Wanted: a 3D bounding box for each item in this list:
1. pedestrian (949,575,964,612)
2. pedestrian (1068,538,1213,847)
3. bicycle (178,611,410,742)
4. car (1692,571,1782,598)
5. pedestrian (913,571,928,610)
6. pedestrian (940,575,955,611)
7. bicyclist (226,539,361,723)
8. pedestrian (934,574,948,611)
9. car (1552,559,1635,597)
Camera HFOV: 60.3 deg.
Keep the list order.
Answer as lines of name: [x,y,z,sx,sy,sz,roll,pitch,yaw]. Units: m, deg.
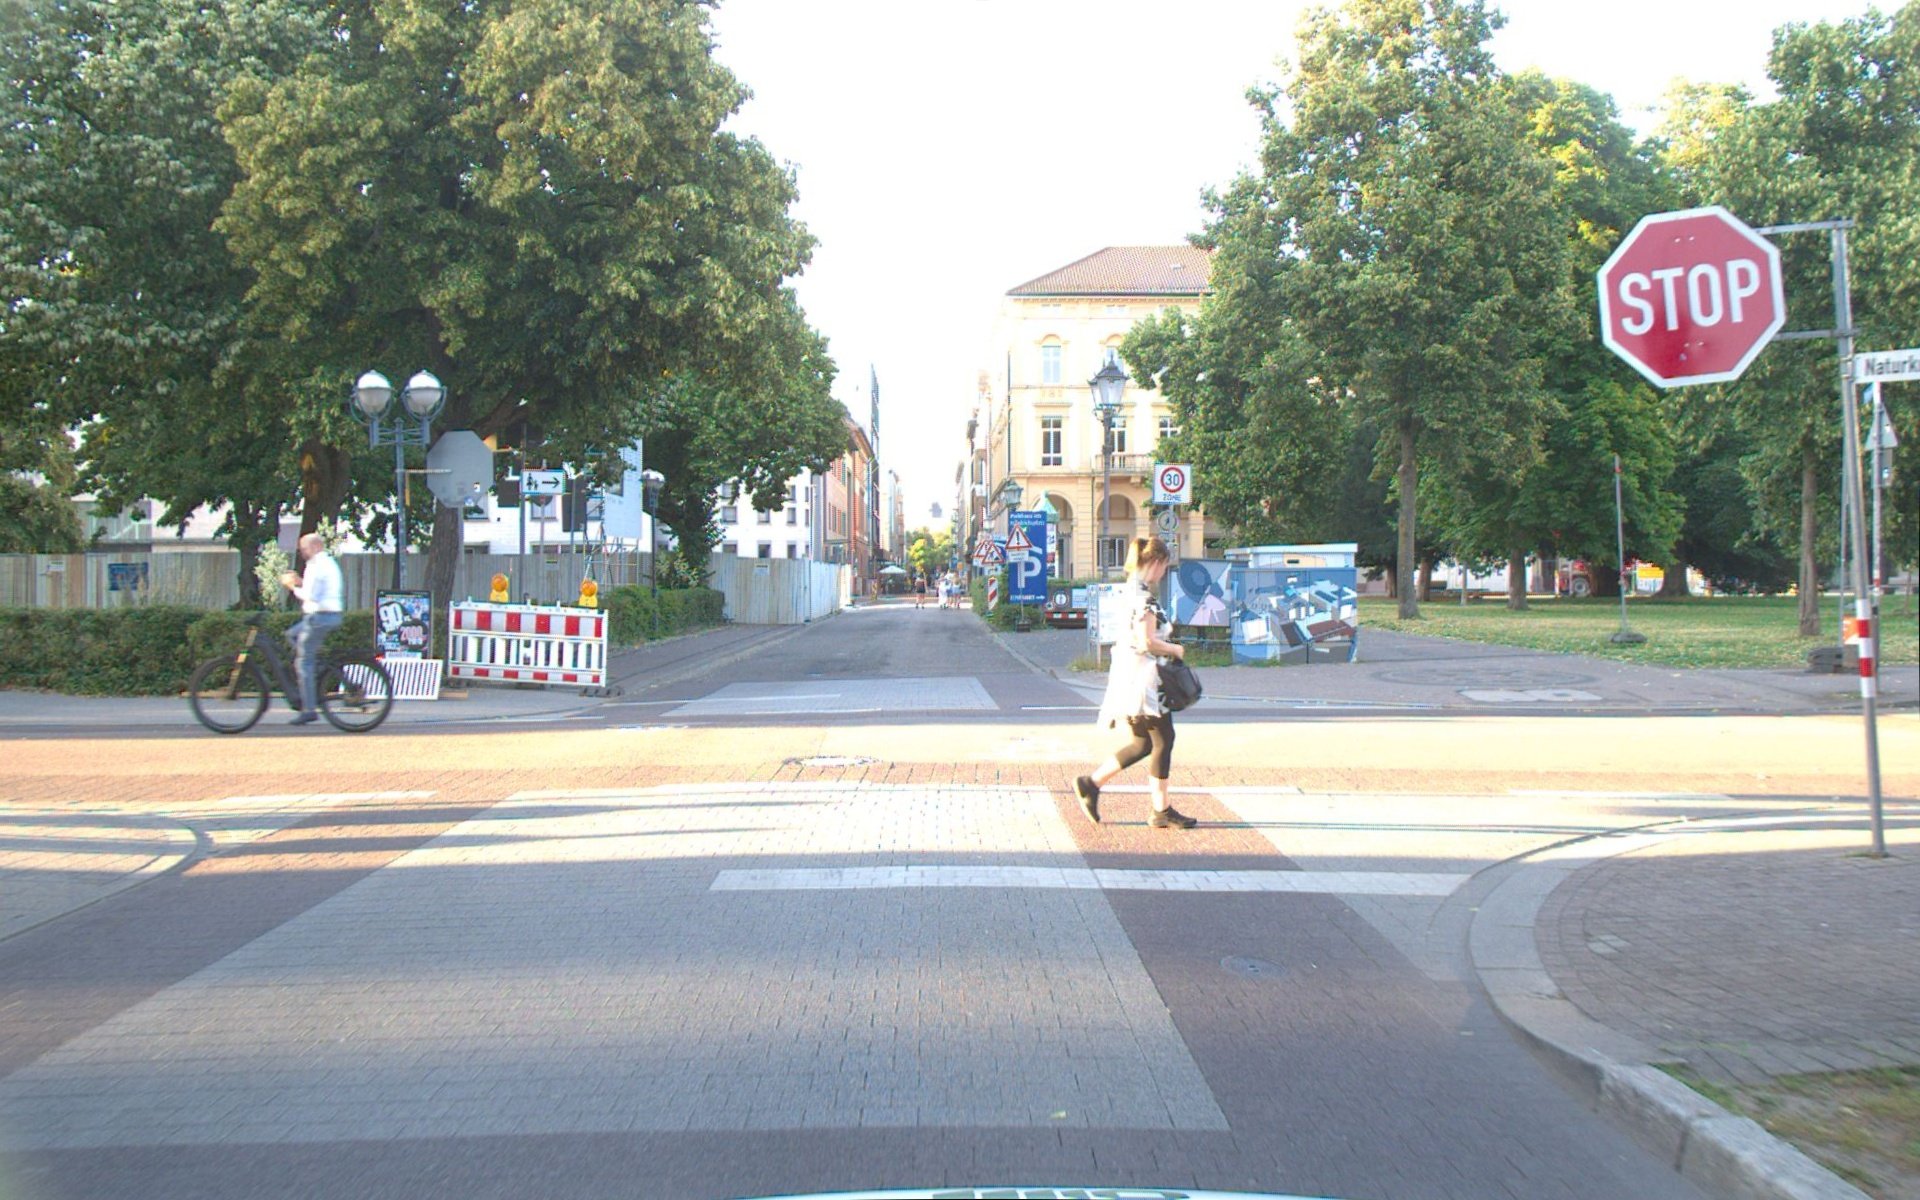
pedestrian: [-0.156,-0.295,75.781,0.644,1.645,0.745,-1,1,-1]
pedestrian: [1.041,0.511,9.677,0.719,1.719,0.836,-1,0,-2]
bicycle: [-6.160,0.694,15.382,1.892,1.141,0.595,-1,1,-11]
car: [38.437,-0.761,81.841,3.506,1.262,1.997,-1,1,-8]
pedestrian: [-1.852,-0.436,76.992,0.644,1.790,0.745,-1,1,-1]
pedestrian: [-0.582,-0.317,77.152,0.644,1.664,0.745,-1,1,-1]
bicyclist: [-6.185,0.273,15.394,1.041,1.661,0.595,-1,0,-11]
pedestrian: [-0.870,-0.343,75.727,0.644,1.645,0.745,-1,1,-1]
car: [35.897,-1.247,93.831,3.949,2.049,2.000,-1,1,0]
